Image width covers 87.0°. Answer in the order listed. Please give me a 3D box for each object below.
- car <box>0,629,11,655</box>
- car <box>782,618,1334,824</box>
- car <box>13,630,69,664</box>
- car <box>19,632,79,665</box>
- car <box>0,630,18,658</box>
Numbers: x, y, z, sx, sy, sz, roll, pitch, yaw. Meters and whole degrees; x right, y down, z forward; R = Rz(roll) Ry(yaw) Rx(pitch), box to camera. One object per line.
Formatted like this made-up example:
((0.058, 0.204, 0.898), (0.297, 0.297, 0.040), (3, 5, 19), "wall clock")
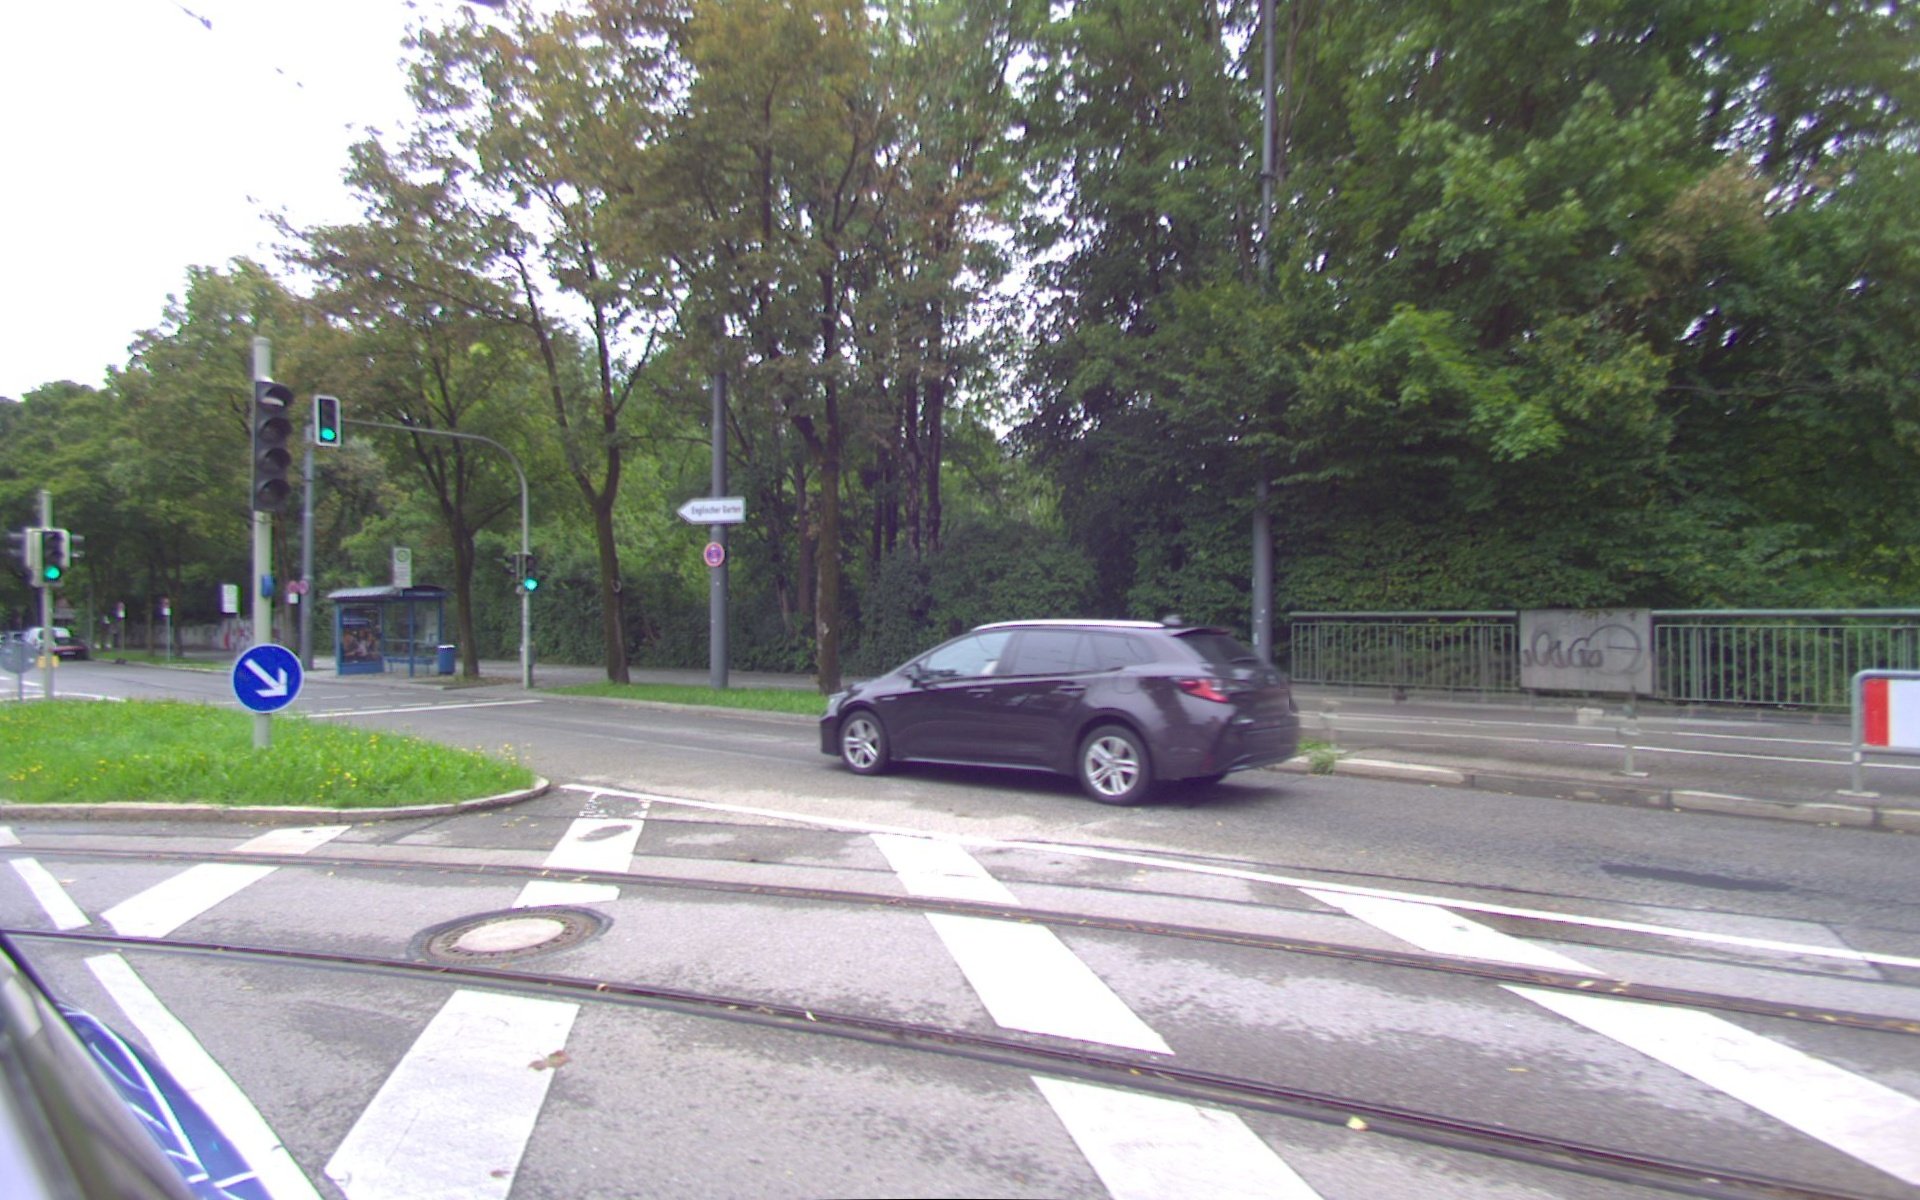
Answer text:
((-68.136, 2.978, 70.951), (3.997, 1.739, 1.864), (0, 1, 40), "car")
((0.636, 0.904, 9.059), (4.834, 1.399, 1.607), (-2, -3, 39), "car")
((-52.917, 2.668, 58.283), (3.997, 1.739, 1.864), (0, 1, 40), "car")
((-48.845, 2.579, 54.218), (3.997, 1.552, 1.864), (0, 1, 40), "car")
((-64.363, 2.950, 67.454), (3.997, 1.739, 1.864), (0, 1, 40), "car")
